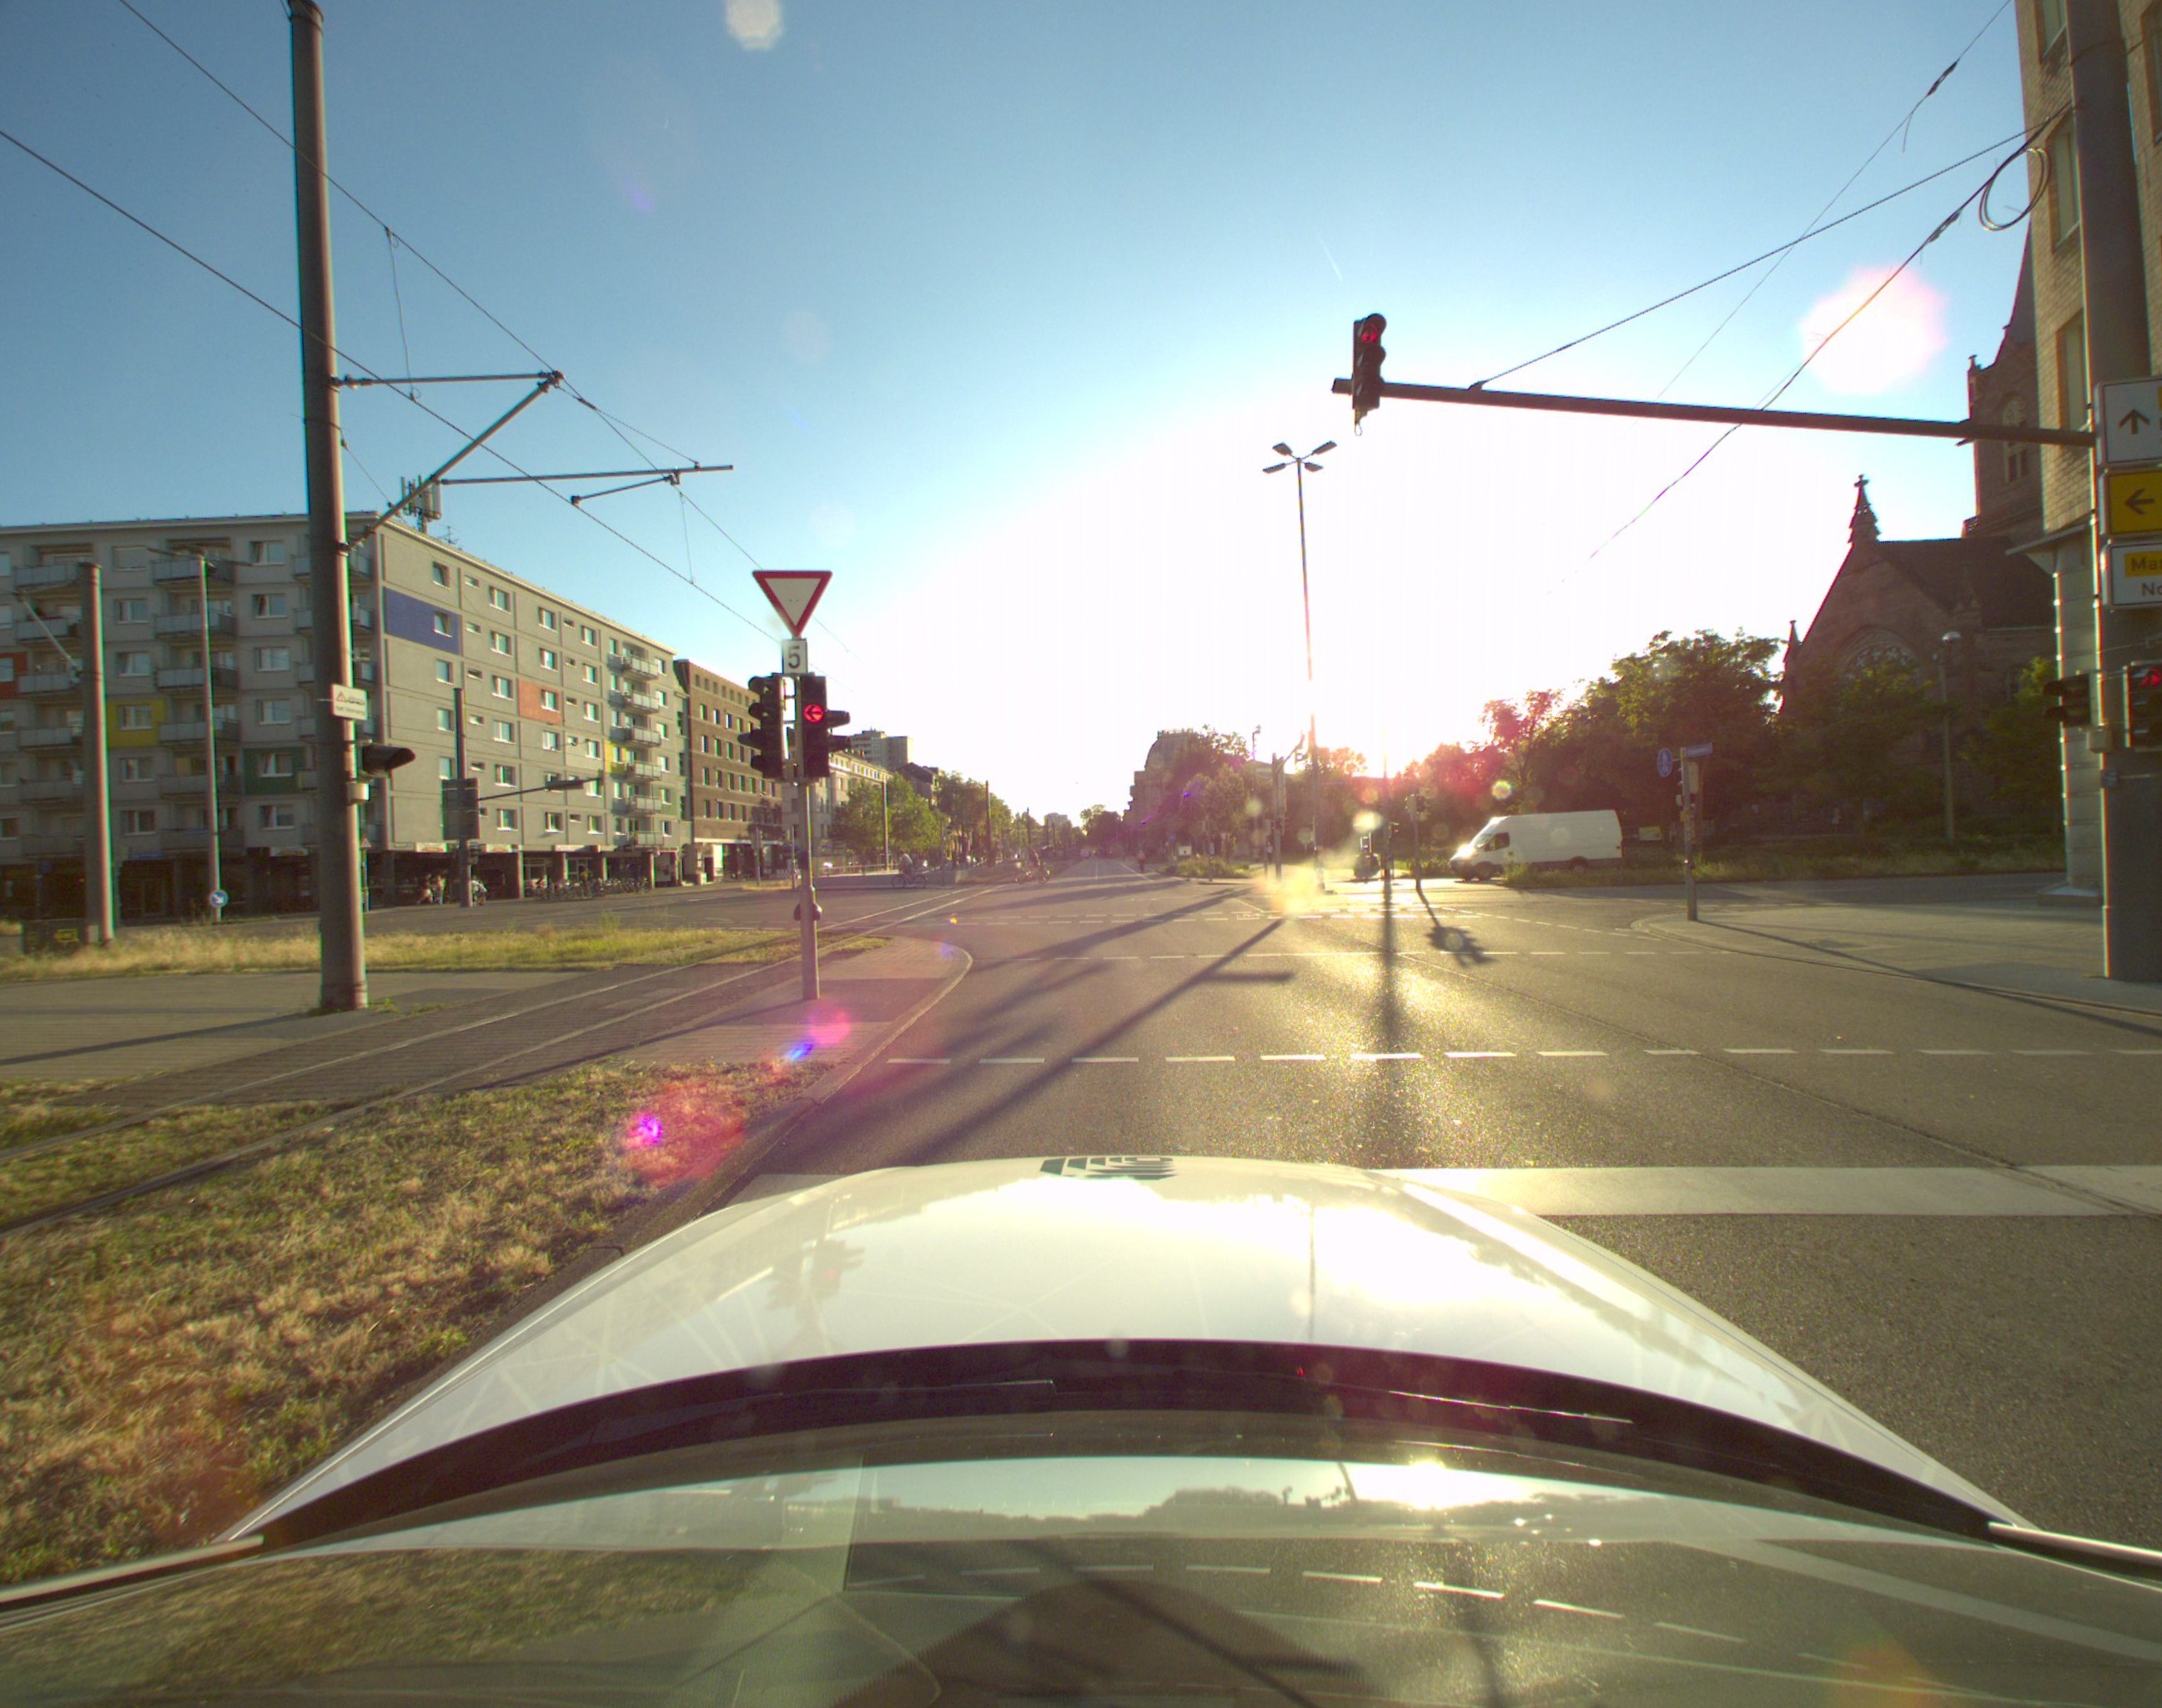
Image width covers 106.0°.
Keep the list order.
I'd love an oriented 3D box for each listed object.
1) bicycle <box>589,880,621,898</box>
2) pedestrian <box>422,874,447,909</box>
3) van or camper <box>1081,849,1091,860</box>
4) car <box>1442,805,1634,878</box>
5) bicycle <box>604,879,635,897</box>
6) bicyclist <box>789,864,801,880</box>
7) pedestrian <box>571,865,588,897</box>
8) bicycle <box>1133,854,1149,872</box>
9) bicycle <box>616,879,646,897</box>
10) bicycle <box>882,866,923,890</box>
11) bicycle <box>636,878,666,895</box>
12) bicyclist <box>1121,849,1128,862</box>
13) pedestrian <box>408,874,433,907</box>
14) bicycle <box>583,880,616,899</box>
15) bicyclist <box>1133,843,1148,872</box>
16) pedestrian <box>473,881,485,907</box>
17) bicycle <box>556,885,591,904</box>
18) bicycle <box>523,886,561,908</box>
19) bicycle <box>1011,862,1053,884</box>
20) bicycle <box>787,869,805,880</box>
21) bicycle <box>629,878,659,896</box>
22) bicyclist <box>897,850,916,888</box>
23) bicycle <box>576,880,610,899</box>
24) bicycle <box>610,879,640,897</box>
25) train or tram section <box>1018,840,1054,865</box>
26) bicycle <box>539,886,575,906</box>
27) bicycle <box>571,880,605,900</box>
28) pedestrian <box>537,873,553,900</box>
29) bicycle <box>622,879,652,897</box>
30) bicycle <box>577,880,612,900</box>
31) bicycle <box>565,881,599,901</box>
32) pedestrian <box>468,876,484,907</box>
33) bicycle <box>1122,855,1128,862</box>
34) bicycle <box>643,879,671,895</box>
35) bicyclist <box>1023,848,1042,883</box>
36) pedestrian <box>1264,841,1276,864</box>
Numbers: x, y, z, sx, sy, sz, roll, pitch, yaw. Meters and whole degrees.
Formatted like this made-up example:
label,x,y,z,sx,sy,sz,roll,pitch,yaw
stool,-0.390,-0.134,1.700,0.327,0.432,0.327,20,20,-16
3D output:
label,x,y,z,sx,sy,sz,roll,pitch,yaw
bicycle,-31.819,2.346,54.433,1.764,1.136,0.606,-2,0,2
pedestrian,-36.039,2.087,45.396,0.785,1.841,0.733,-2,0,-7
van or camper,1.250,0.168,204.395,2.441,2.770,5.600,-2,0,0
car,19.582,-0.530,35.188,6.981,2.827,2.095,-2,0,3
bicycle,-31.137,2.314,54.978,1.748,1.117,0.552,-2,0,2
bicyclist,-26.245,1.620,74.764,0.494,1.426,0.862,-3,0,27
pedestrian,-34.582,1.877,56.193,0.599,2.178,0.792,-2,0,1
bicycle,4.758,0.728,65.053,1.094,1.399,2.833,-2,0,2
bicycle,-31.043,2.342,56.197,1.719,1.124,0.634,-2,-1,3
bicycle,-8.688,1.160,39.766,1.902,1.075,0.630,-2,0,-12
bicycle,-30.855,2.313,58.416,1.683,1.170,0.749,-2,0,3
bicyclist,6.886,0.213,129.029,0.922,2.013,0.851,-2,0,1
pedestrian,-37.051,2.024,45.715,0.826,1.813,0.718,-1,-1,-9
bicycle,-31.817,2.323,53.790,1.769,1.159,0.606,-2,0,1
bicyclist,4.742,0.286,64.948,1.078,2.276,0.986,-2,0,1
pedestrian,-32.796,2.188,44.371,0.383,1.383,0.392,-2,0,-26
bicycle,-31.456,2.502,50.485,1.750,1.139,0.600,-2,0,2
bicycle,-32.281,2.561,48.804,1.788,1.208,0.638,-2,0,0
bicycle,-2.592,0.988,43.006,2.152,1.083,0.540,-2,-1,8
bicycle,-26.191,1.890,74.852,0.503,0.944,1.678,-2,0,27
bicycle,-30.933,2.358,57.642,1.683,1.179,0.749,-2,0,3
bicyclist,-8.524,0.736,39.800,0.793,1.818,0.644,-2,0,-11
bicycle,-31.812,2.308,53.106,1.824,1.160,0.640,-2,0,1
bicycle,-31.101,2.335,55.564,1.754,1.119,0.568,-2,0,2
train or tram section,-7.933,-0.328,145.340,4.363,3.849,11.433,-2,2,7
bicycle,-32.099,2.595,49.879,1.770,1.142,0.608,-2,0,1
bicycle,-31.258,2.294,51.656,1.762,1.182,0.568,-2,0,1
pedestrian,-33.223,2.010,50.504,0.577,1.684,0.547,-2,0,1
bicycle,-30.982,2.376,56.889,1.683,1.153,0.706,-2,0,3
bicycle,-31.235,2.311,52.305,1.782,1.191,0.652,-2,0,1
bicycle,-31.276,2.299,51.058,1.759,1.167,0.540,-2,0,2
pedestrian,-32.491,2.029,43.731,0.575,1.620,0.598,-2,0,-29
bicycle,6.911,0.675,128.937,0.921,1.111,2.334,-2,0,2
bicycle,-30.802,2.397,59.147,1.683,1.144,0.697,-2,0,3
bicyclist,-2.548,0.610,43.005,0.871,1.818,0.539,-2,0,8
pedestrian,15.127,-0.144,65.275,0.826,1.803,0.814,-2,0,17
